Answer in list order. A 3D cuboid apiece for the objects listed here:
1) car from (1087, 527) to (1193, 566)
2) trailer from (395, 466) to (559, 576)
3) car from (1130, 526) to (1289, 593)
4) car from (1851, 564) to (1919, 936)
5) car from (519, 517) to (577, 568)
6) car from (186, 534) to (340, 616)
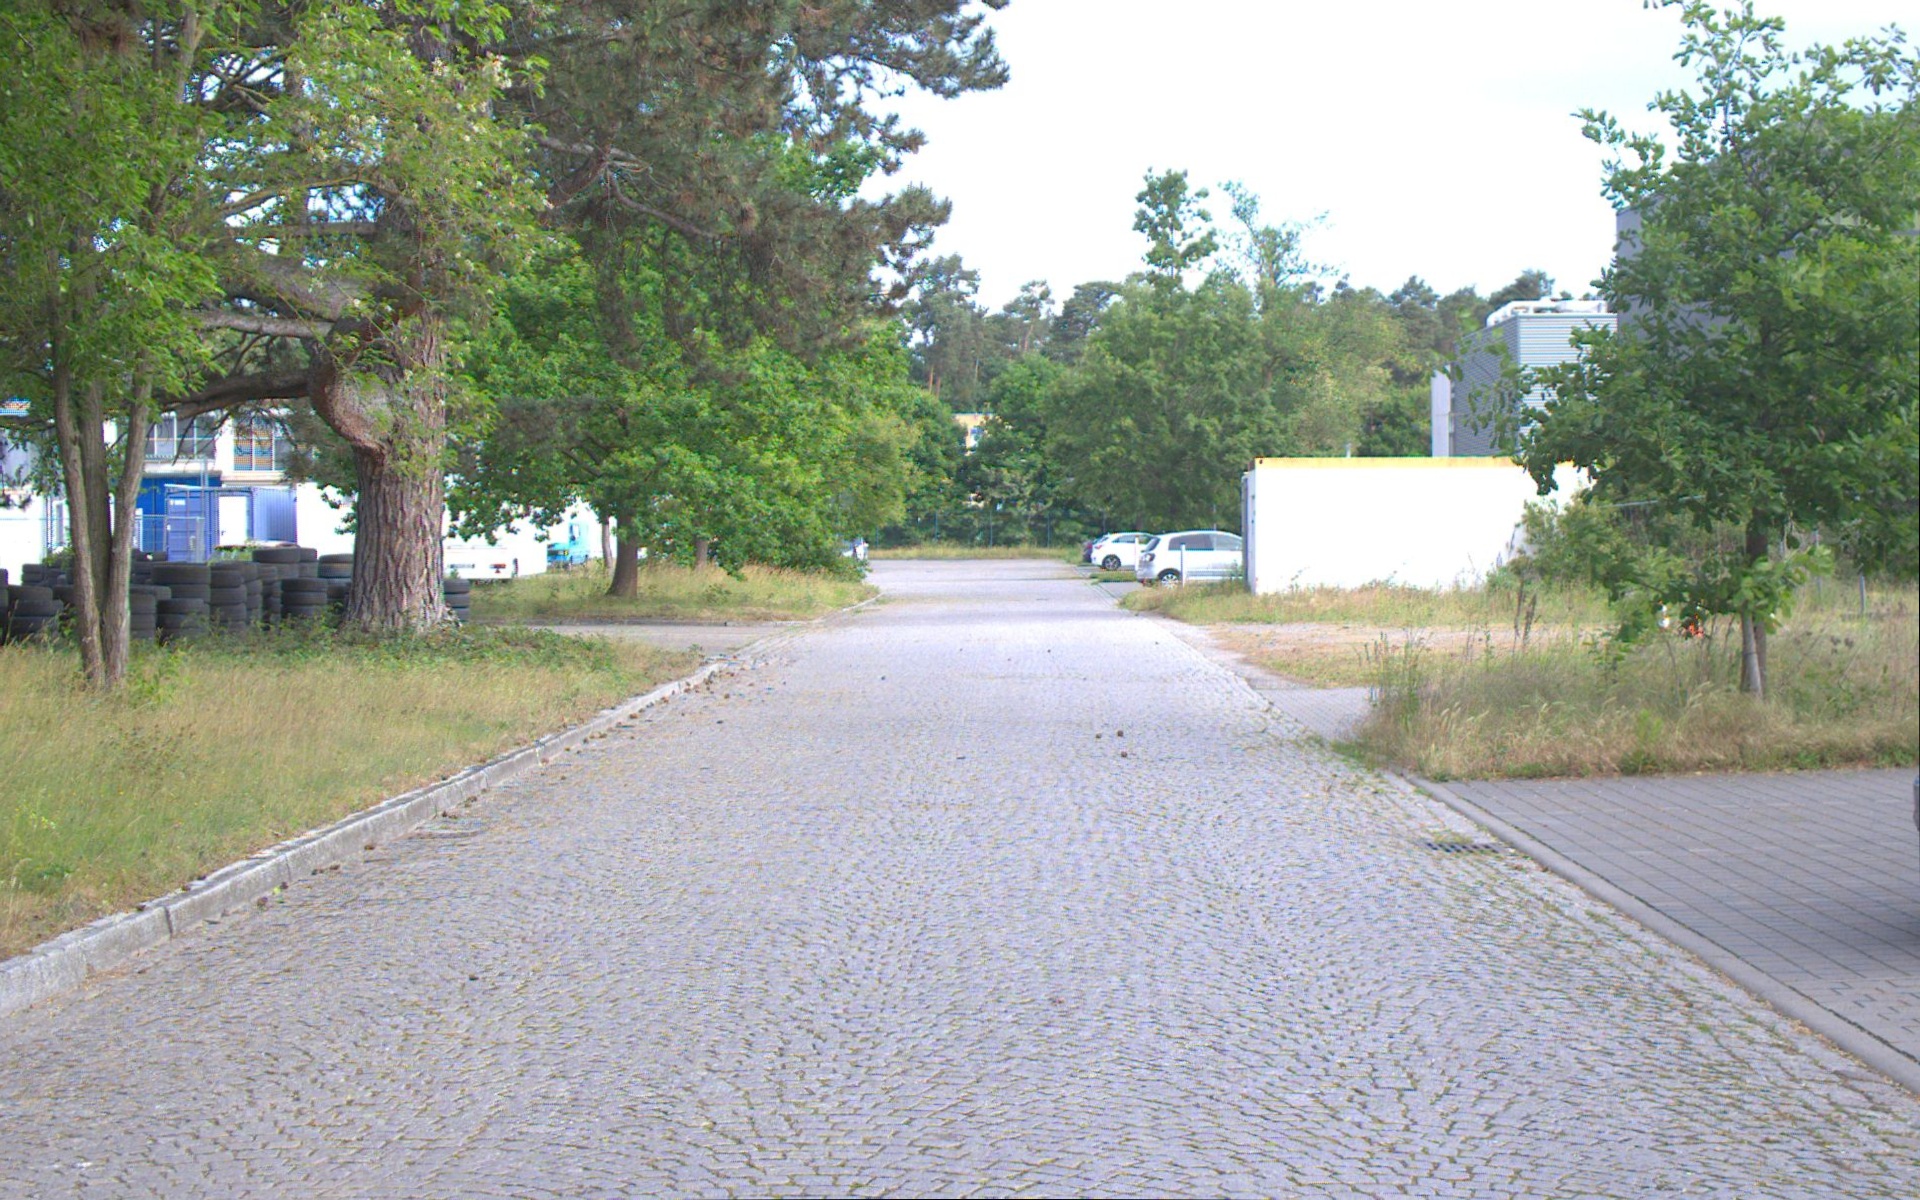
[{"bbox_3d":[6.954,-2.066,133.044,4.025,1.496,1.548,0,1,2],"label":"car"},{"bbox_3d":[-13.932,-2.291,99.925,3.159,3.057,8.784,0,1,3],"label":"trailer"},{"bbox_3d":[6.284,-1.027,86.906,3.849,1.649,1.686,0,1,-2],"label":"car"},{"bbox_3d":[5.998,0.516,13.385,4.521,1.438,1.824,-2,1,-2],"label":"car"},{"bbox_3d":[-16.825,-2.369,140.662,1.925,2.040,4.601,0,1,-2],"label":"car"},{"bbox_3d":[-12.630,-0.478,62.469,1.767,1.448,3.487,0,1,6],"label":"car"}]
